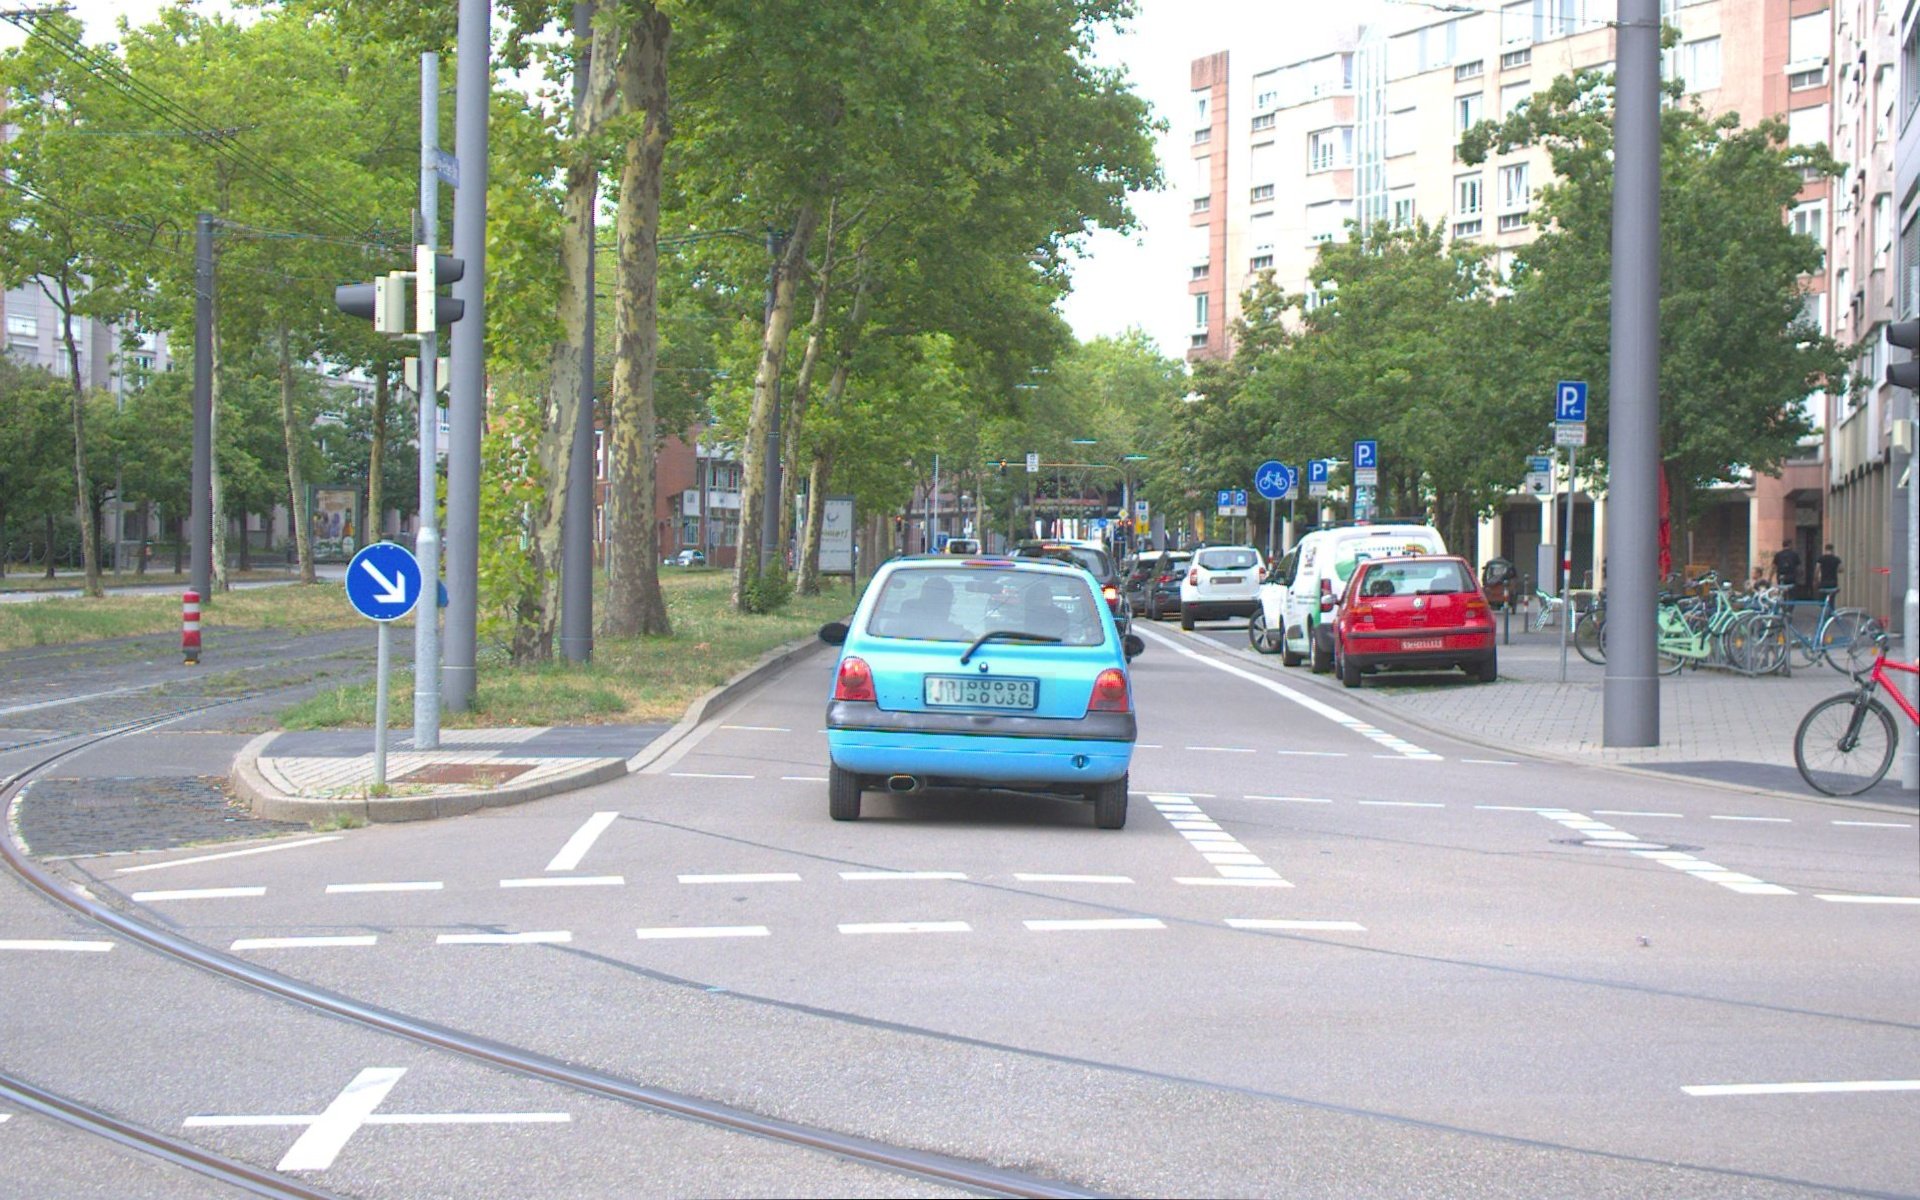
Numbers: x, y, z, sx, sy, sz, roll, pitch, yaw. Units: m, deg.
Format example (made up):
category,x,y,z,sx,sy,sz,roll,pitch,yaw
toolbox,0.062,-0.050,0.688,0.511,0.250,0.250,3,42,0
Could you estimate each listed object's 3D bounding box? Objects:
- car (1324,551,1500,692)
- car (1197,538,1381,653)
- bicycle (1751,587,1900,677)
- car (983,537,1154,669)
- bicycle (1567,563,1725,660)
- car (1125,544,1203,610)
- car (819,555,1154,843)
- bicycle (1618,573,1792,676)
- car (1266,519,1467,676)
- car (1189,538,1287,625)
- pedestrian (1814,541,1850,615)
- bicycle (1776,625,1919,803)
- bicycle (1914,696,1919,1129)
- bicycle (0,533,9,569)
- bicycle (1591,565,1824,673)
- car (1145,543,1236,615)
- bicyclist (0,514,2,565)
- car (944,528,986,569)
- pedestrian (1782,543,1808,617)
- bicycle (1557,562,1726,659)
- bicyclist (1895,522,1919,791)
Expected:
category,x,y,z,sx,sy,sz,roll,pitch,yaw
car,5.089,0.203,39.124,1.722,1.428,4.253,-2,1,5
car,4.997,-0.114,52.868,1.994,1.597,4.584,-2,1,-4
bicycle,9.637,0.355,38.284,1.558,0.984,0.423,0,1,-3
car,1.445,0.002,44.143,1.775,1.571,4.304,-1,1,7
bicycle,8.573,0.137,43.000,1.909,1.193,0.479,1,1,9
car,4.874,-0.573,82.517,1.740,1.513,4.401,0,1,2
car,0.172,0.468,19.096,1.640,1.381,3.843,1,1,1
bicycle,8.385,0.271,38.718,1.848,1.135,0.493,0,1,-6
car,5.129,-0.085,43.934,1.826,1.858,4.649,-1,1,-2
car,5.471,-0.384,68.004,1.861,1.647,4.163,0,1,4
pedestrian,18.355,-0.462,72.377,0.710,1.550,0.798,0,1,14
bicycle,6.421,0.751,22.805,1.900,1.135,0.726,0,1,19
bicycle,2.804,0.842,8.030,0.594,1.135,2.091,0,1,1
bicycle,-30.009,-1.511,105.971,0.668,1.080,2.093,1,1,4
bicycle,8.932,0.222,41.143,2.632,1.254,0.655,1,1,1
car,5.147,-0.492,77.162,1.715,1.513,4.204,-1,1,0
bicyclist,-30.005,-1.862,105.914,0.664,1.585,0.984,1,1,4
car,0.266,-2.467,164.447,1.932,1.919,4.956,1,1,1
pedestrian,17.612,-0.423,72.528,0.512,1.550,0.473,0,1,14
bicycle,8.616,0.122,43.511,2.056,1.193,0.479,1,1,9
bicyclist,6.672,0.367,22.708,0.914,1.758,0.719,0,1,18
